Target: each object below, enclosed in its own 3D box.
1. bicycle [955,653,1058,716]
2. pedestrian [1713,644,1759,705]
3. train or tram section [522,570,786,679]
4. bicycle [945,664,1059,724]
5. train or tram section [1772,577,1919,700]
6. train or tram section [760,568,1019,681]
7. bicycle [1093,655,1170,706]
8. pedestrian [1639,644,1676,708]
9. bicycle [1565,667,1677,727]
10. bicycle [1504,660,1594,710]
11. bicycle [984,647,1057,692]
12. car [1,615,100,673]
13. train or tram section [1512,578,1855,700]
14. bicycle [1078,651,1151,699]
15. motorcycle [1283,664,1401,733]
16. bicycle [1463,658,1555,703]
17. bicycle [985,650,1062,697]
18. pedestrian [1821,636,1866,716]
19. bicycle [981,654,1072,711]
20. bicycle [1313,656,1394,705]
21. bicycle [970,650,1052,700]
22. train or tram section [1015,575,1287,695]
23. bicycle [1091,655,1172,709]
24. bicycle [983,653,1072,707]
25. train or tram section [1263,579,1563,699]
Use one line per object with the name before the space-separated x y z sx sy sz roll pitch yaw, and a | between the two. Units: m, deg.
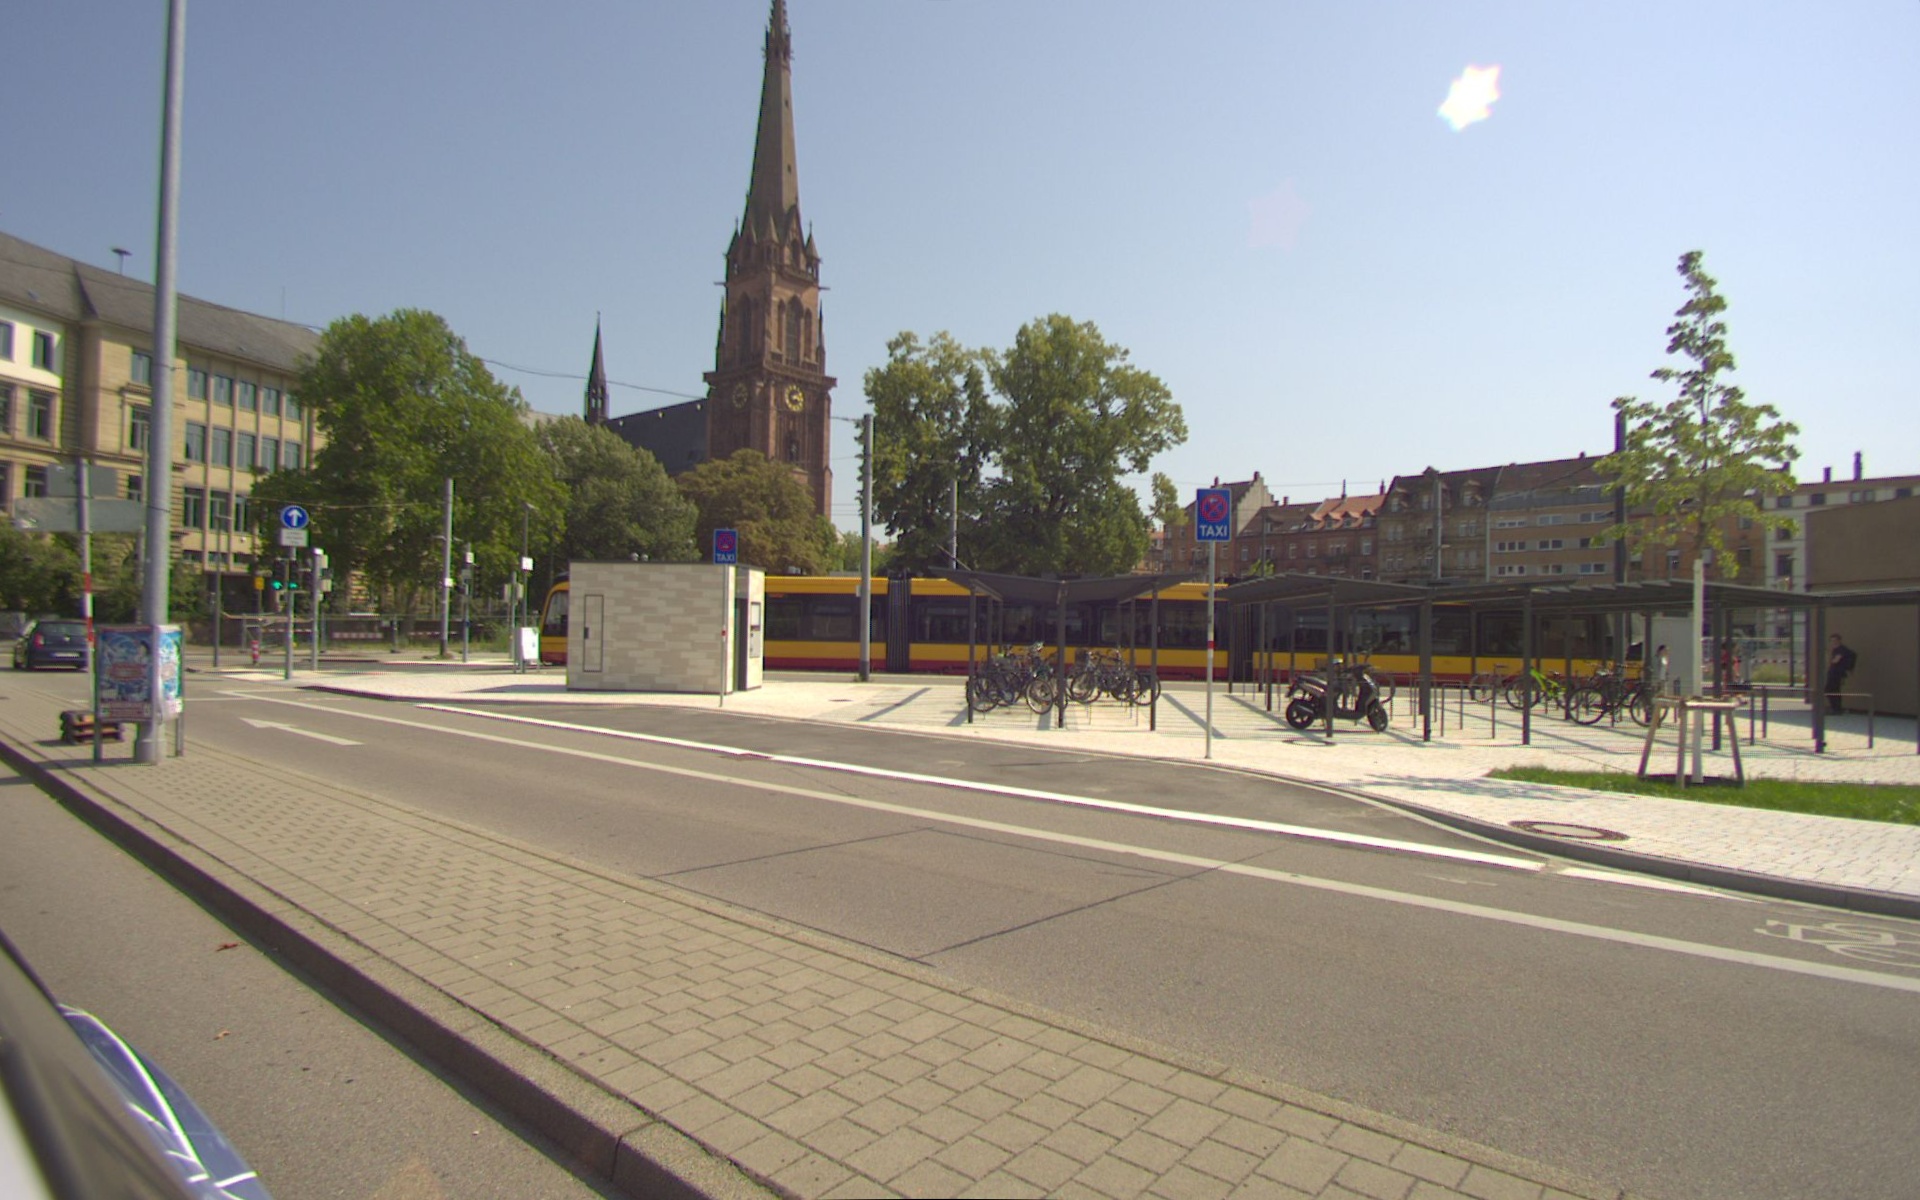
bicycle | 0.857 1.525 18.485 1.843 1.090 0.525 0 -2 8
pedestrian | 18.569 1.765 24.219 0.737 1.421 0.442 0 -2 10
train or tram section | -10.521 0.886 35.342 8.225 3.588 3.132 0 -3 6
bicycle | 0.717 1.582 17.189 1.877 0.890 0.490 2 -2 9
train or tram section | 30.465 1.201 31.016 8.141 3.597 3.139 0 -3 6
train or tram section | -2.245 0.863 34.460 8.421 3.625 3.156 0 -3 6
bicycle | 3.692 1.728 21.827 1.622 1.048 0.412 0 -2 9
pedestrian | 15.957 1.717 23.151 0.667 1.421 0.438 -1 -3 40
bicycle | 12.123 1.775 18.574 1.710 1.048 0.513 1 -2 -1
bicycle | 12.753 1.830 21.938 1.708 1.048 0.514 1 -2 -7
bicycle | 1.480 1.683 24.695 1.749 1.048 0.525 0 -2 8
car | -25.416 1.221 28.259 3.584 1.509 1.564 -1 -4 41
train or tram section | 22.408 1.246 31.835 8.141 3.597 3.139 0 -3 6
bicycle | 3.518 1.695 23.080 1.622 1.048 0.412 0 -2 9
motorcycle | 6.340 1.627 16.842 1.759 1.077 0.490 0 -2 9
bicycle | 12.870 1.886 23.739 1.833 0.993 0.513 1 -2 5
bicycle | 1.475 1.695 23.505 1.749 1.048 0.525 0 -2 8
pedestrian | 19.098 1.634 21.879 0.562 1.691 0.443 1 -2 5
bicycle | 1.317 1.606 19.848 1.749 1.048 0.525 0 -2 8
bicycle | 8.806 1.790 22.669 1.622 1.048 0.412 0 -2 9
bicycle | 1.131 1.631 22.235 1.749 1.048 0.525 0 -2 8
train or tram section | 6.118 1.158 33.549 8.421 3.625 3.156 1 -3 6
bicycle | 3.514 1.669 20.770 1.622 1.048 0.412 0 -2 9
bicycle | 1.376 1.611 20.551 1.749 1.048 0.525 0 -2 8
train or tram section | 14.327 1.266 32.673 8.144 3.625 3.156 0 -3 6
